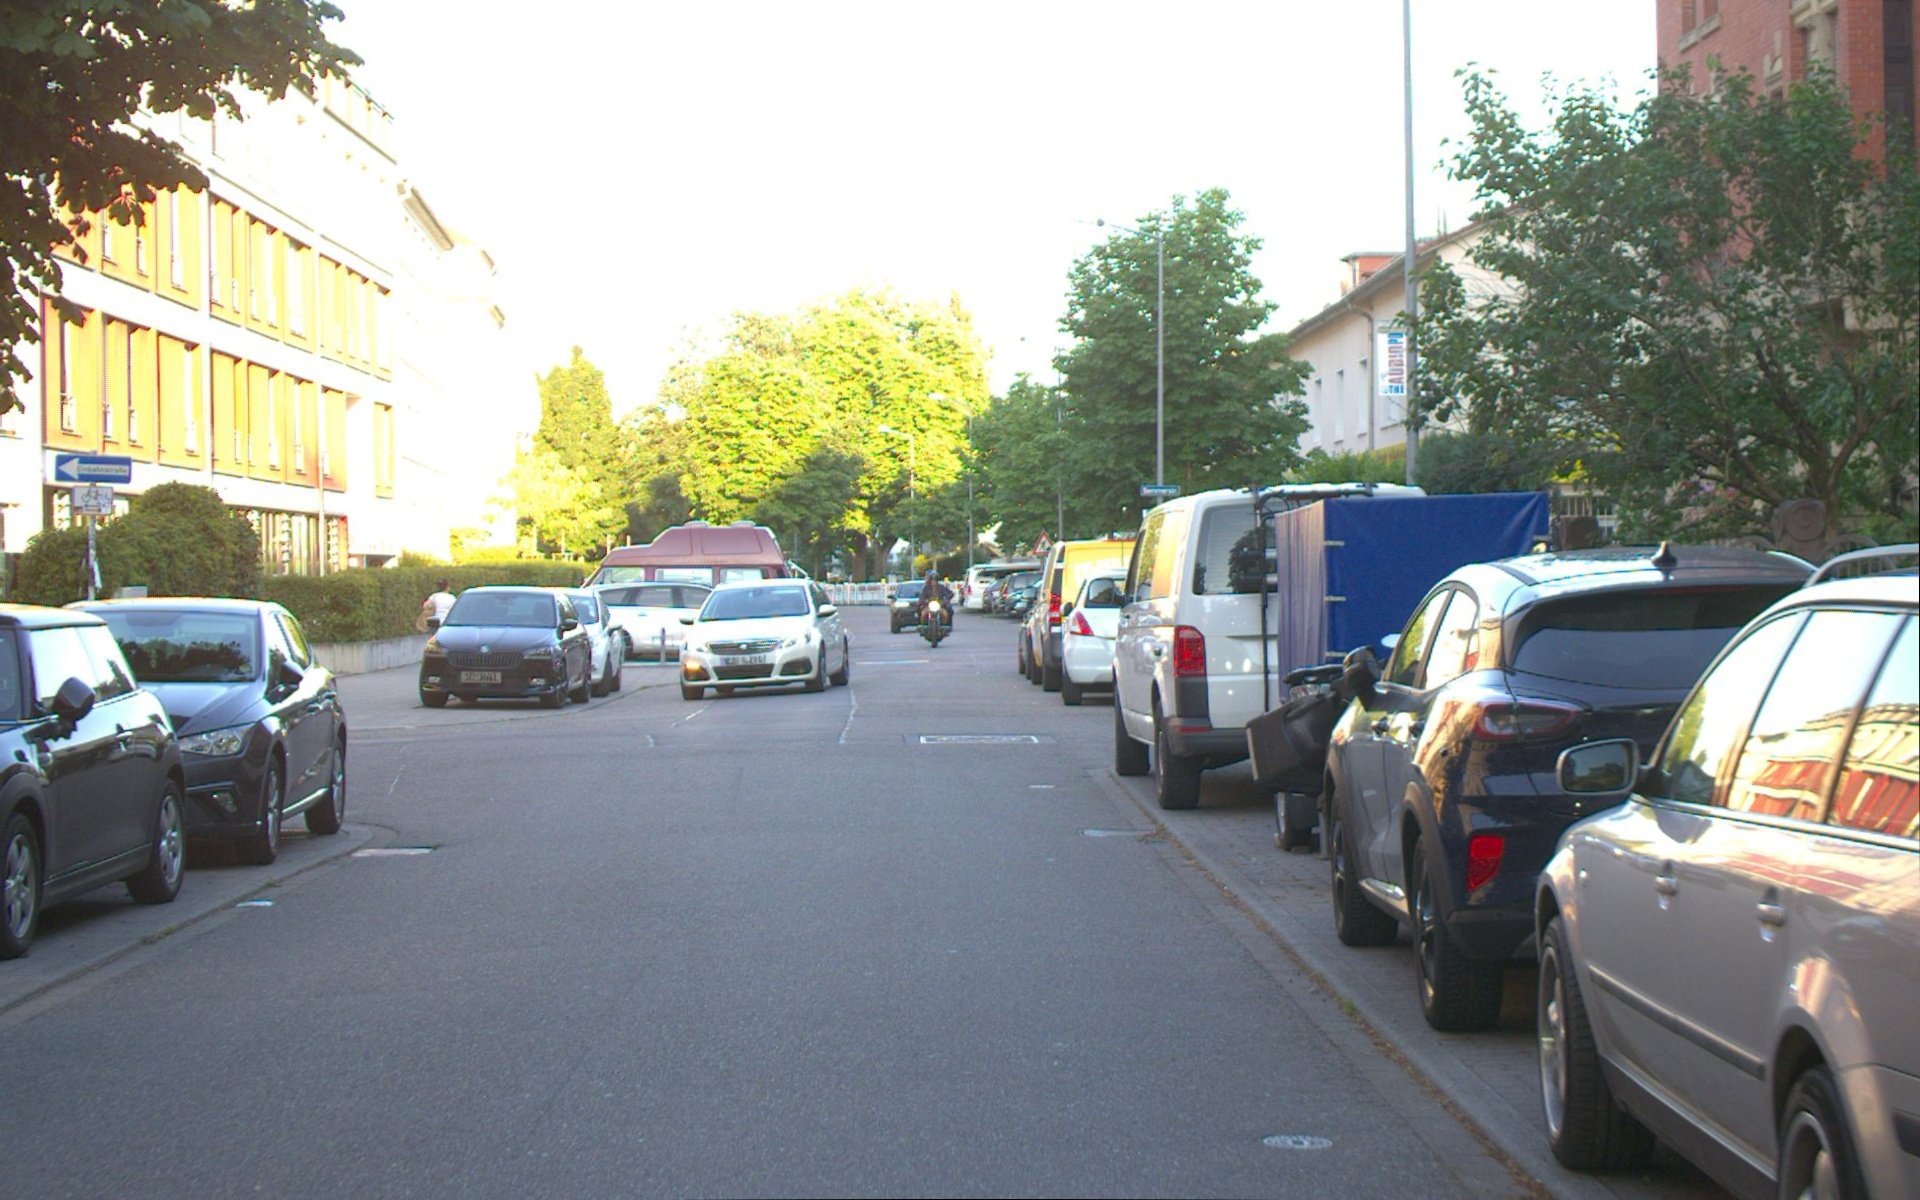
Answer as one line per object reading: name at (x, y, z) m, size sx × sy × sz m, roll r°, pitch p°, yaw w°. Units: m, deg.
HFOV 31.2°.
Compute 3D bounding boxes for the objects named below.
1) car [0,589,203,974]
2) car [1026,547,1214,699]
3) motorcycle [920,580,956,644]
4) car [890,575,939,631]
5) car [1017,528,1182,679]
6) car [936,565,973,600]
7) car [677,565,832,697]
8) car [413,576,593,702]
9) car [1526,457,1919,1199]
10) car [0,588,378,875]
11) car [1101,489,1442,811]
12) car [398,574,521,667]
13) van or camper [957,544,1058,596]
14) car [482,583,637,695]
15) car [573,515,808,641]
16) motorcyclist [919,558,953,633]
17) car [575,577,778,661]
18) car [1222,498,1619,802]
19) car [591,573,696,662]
car at (-4.565, 0.701, 14.967) m, size 1.716 × 1.436 × 3.631 m, roll 0°, pitch 1°, yaw 0°
car at (1.738, 0.234, 38.515) m, size 1.686 × 1.600 × 3.940 m, roll 0°, pitch 0°, yaw -3°
motorcycle at (-0.494, 0.244, 75.140) m, size 0.742 × 1.246 × 3.378 m, roll -1°, pitch 2°, yaw -1°
car at (-1.371, 0.080, 102.801) m, size 1.432 × 1.590 × 3.483 m, roll 0°, pitch 1°, yaw -1°
car at (1.712, 0.030, 43.298) m, size 1.686 × 1.805 × 3.940 m, roll 0°, pitch 0°, yaw -3°
car at (-0.274, -0.849, 161.770) m, size 1.715 × 1.590 × 3.483 m, roll 0°, pitch 1°, yaw -1°
car at (-2.594, 0.365, 44.124) m, size 1.813 × 1.590 × 3.483 m, roll 0°, pitch 1°, yaw -1°
car at (-5.588, 0.467, 42.388) m, size 1.716 × 1.481 × 3.630 m, roll 0°, pitch 0°, yaw 0°
car at (2.242, 0.581, 6.742) m, size 1.687 × 1.600 × 3.940 m, roll 0°, pitch 0°, yaw 1°
car at (-4.497, 0.684, 19.882) m, size 1.599 × 1.436 × 3.837 m, roll 0°, pitch 1°, yaw 0°
car at (1.967, 0.292, 22.744) m, size 1.680 × 1.934 × 3.881 m, roll 0°, pitch 0°, yaw -3°
car at (-8.230, 0.310, 56.768) m, size 1.715 × 1.436 × 3.631 m, roll -1°, pitch 1°, yaw -4°
van or camper at (2.605, -1.653, 187.467) m, size 5.262 × 2.782 × 1.552 m, roll -1°, pitch 1°, yaw -11°
car at (-5.524, 0.508, 47.751) m, size 1.716 × 1.436 × 3.631 m, roll 0°, pitch 1°, yaw 0°
car at (-5.084, -0.427, 65.214) m, size 4.349 × 2.310 × 1.746 m, roll 0°, pitch 1°, yaw -2°
motorcyclist at (-0.528, -0.100, 75.057) m, size 0.702 × 1.625 × 0.822 m, roll -1°, pitch 0°, yaw -1°
car at (-5.137, 0.334, 62.434) m, size 3.618 × 1.456 × 1.607 m, roll 0°, pitch 1°, yaw -4°
car at (2.449, 0.241, 18.992) m, size 1.538 × 1.516 × 3.432 m, roll 0°, pitch 0°, yaw -3°
car at (-5.445, 0.283, 59.452) m, size 1.715 × 1.436 × 3.631 m, roll 0°, pitch 1°, yaw -4°
